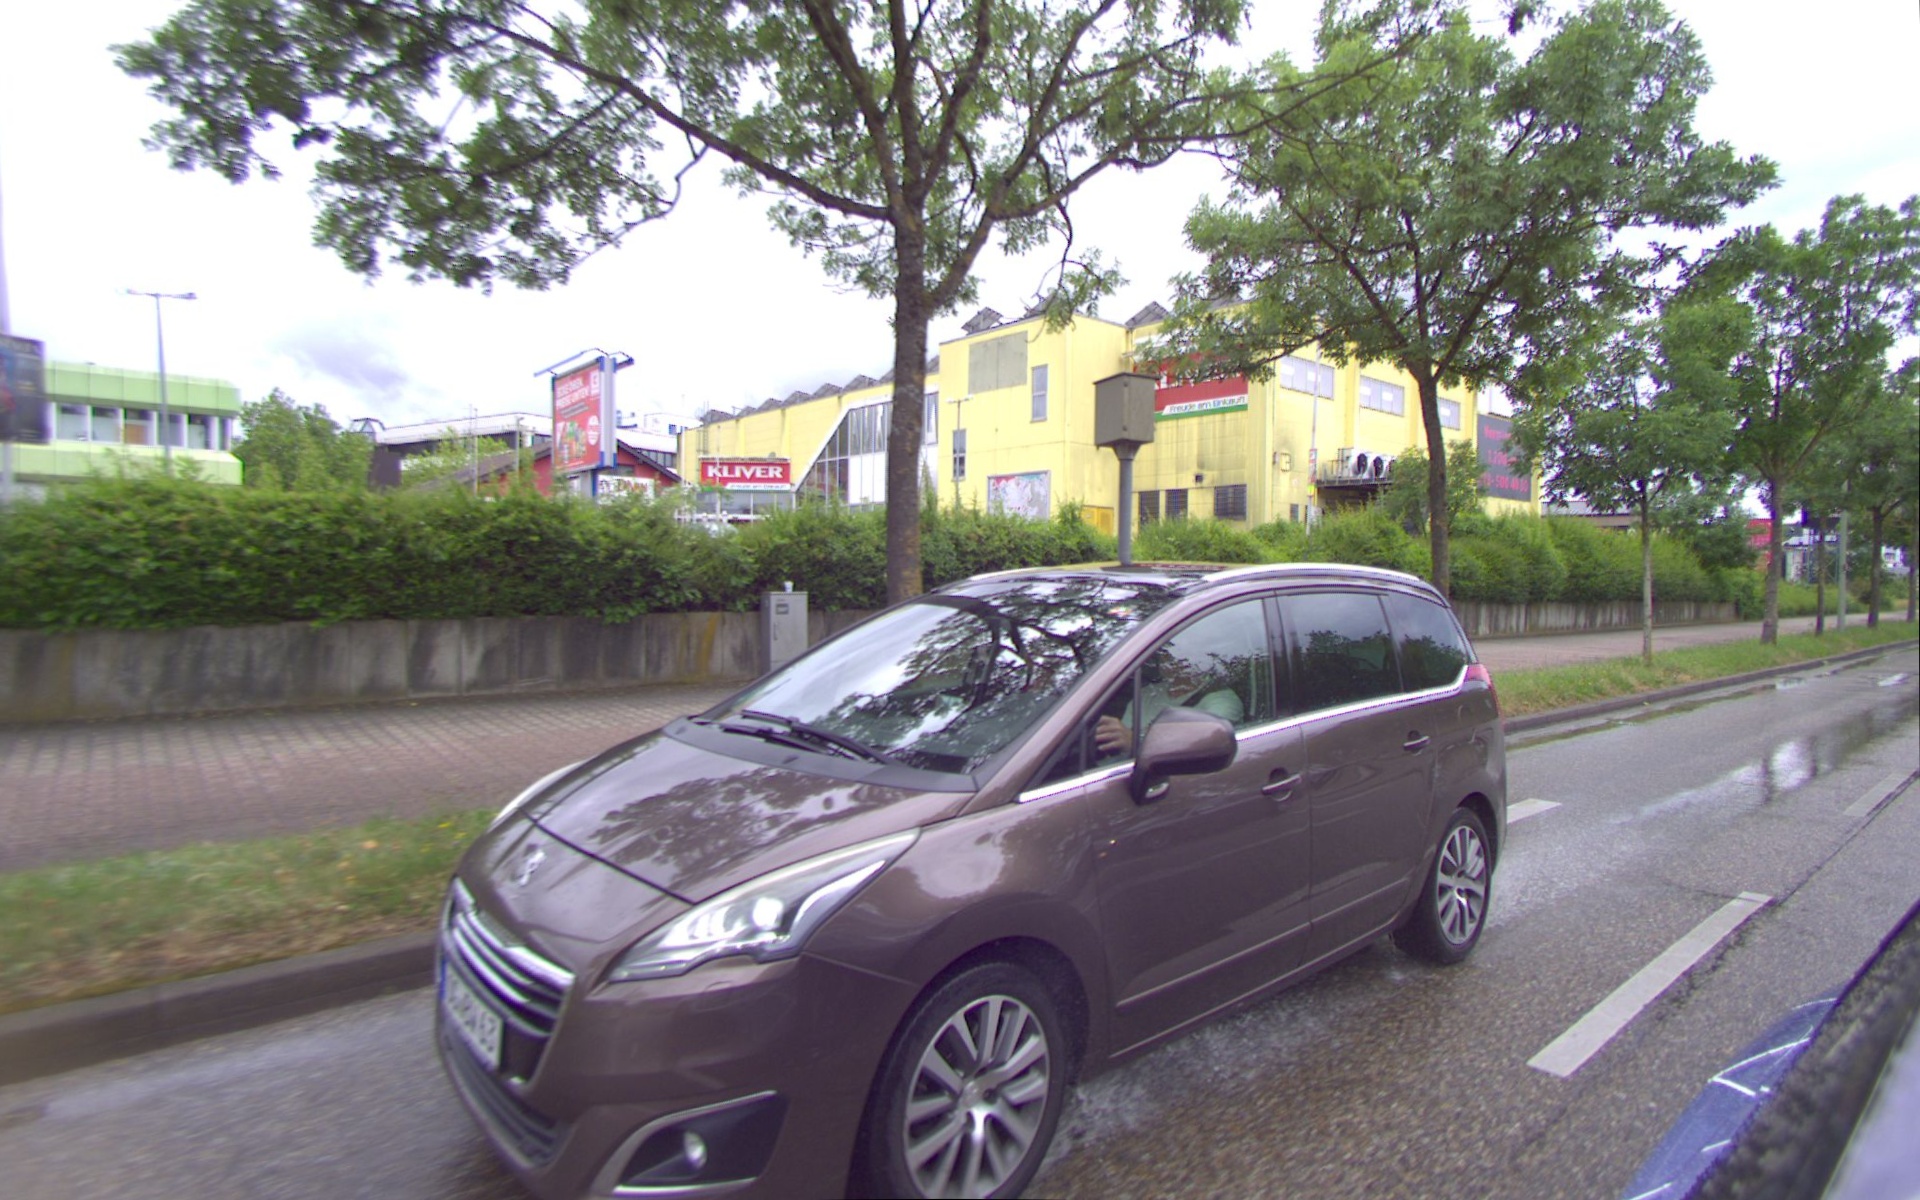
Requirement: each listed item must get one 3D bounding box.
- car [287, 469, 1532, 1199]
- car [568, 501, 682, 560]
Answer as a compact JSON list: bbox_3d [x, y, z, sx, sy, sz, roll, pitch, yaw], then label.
[{"bbox_3d":[0.287,0.579,3.676,4.392,1.644,1.730,-1,2,-41],"label":"car"},{"bbox_3d":[-11.002,-2.207,33.078,1.966,1.760,4.377,0,2,-42],"label":"car"}]
